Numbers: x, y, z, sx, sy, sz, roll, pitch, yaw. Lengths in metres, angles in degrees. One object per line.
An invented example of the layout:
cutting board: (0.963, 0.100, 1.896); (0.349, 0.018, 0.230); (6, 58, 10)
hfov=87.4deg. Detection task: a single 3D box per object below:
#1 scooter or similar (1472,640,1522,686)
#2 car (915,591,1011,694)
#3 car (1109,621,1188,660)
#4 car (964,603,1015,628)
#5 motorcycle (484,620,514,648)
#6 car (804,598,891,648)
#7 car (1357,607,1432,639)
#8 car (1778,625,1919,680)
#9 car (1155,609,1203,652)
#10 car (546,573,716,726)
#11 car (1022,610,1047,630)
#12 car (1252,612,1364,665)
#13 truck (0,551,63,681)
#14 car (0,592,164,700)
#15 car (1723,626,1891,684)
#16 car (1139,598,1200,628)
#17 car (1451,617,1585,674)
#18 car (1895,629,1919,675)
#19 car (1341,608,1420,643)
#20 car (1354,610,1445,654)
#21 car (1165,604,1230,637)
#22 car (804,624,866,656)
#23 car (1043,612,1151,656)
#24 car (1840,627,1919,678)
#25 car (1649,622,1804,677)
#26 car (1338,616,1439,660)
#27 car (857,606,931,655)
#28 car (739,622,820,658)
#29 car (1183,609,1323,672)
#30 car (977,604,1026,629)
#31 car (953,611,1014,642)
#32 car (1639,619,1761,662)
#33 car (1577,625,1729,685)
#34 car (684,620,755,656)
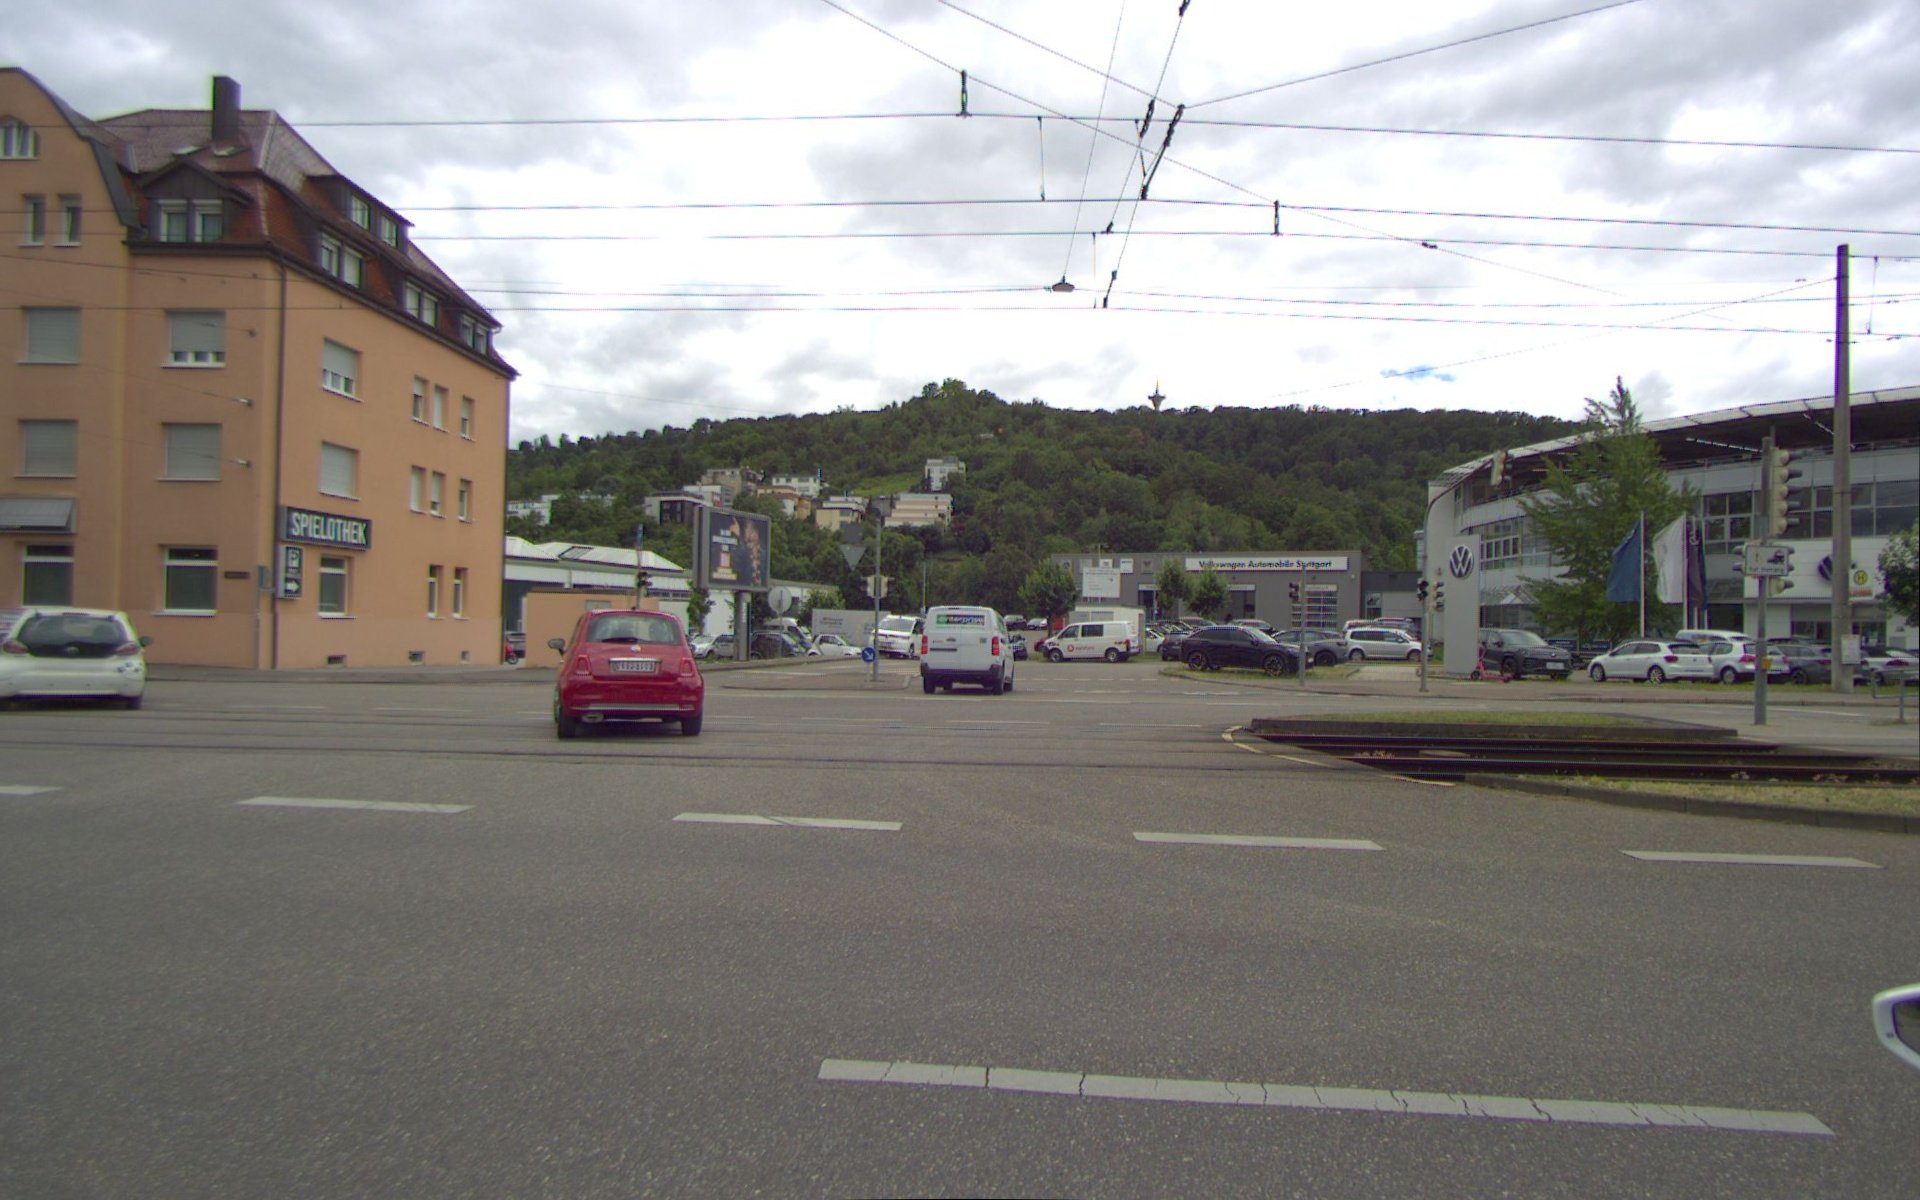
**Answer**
scooter or similar: (16.648, 1.959, 31.180); (1.180, 1.305, 0.576); (5, -1, 16)
car: (0.127, 0.910, 24.439); (1.965, 2.068, 4.831); (4, 2, 2)
car: (10.658, 2.301, 56.825); (3.924, 1.817, 1.853); (5, -1, 24)
car: (2.887, 1.497, 97.487); (4.420, 2.023, 2.001); (5, -1, 14)
motorcycle: (-19.258, 1.404, 41.958); (0.525, 0.997, 1.687); (6, -1, -43)
car: (-6.129, 1.231, 54.596); (4.429, 2.272, 1.997); (5, -1, -9)
car: (29.174, 1.550, 67.567); (4.422, 1.751, 2.000); (5, -1, 20)
car: (30.277, 1.751, 33.825); (1.892, 1.574, 3.996); (5, -1, -6)
car: (11.285, 1.620, 51.434); (1.960, 2.040, 5.021); (1, -3, 17)
car: (-4.252, 0.519, 12.936); (1.678, 1.545, 3.982); (5, 0, -19)
car: (8.144, 2.194, 109.258); (1.960, 2.023, 4.514); (5, -1, 12)
car: (14.039, 1.541, 40.741); (3.919, 1.728, 2.002); (5, -1, 12)
truck: (-20.683, 0.250, 19.855); (5.547, 2.453, 2.320); (1, -3, 25)
car: (-13.194, 0.697, 15.207); (1.583, 1.439, 3.340); (1, -3, -36)
car: (27.917, 1.758, 33.291); (1.892, 1.574, 3.996); (5, -1, -6)
car: (15.178, 0.933, 72.644); (3.924, 1.817, 1.853); (5, -1, 24)
car: (18.533, 1.466, 33.588); (1.963, 1.661, 3.996); (3, -1, -6)
car: (34.831, 1.902, 34.236); (1.892, 1.574, 3.996); (5, -1, -6)
car: (26.689, 1.627, 63.870); (4.422, 1.751, 2.000); (5, -1, 20)
car: (24.601, 1.804, 56.364); (4.422, 2.023, 2.000); (5, -1, 21)
car: (16.202, 1.384, 68.405); (3.924, 1.817, 1.853); (5, -1, 24)
car: (-6.363, 2.017, 51.443); (2.756, 1.355, 1.537); (5, -1, 7)
car: (6.789, 1.676, 49.741); (4.924, 2.040, 1.999); (0, -3, 26)
car: (32.627, 1.822, 34.082); (1.697, 1.574, 3.996); (5, -1, -6)
car: (25.408, 1.596, 33.502); (1.781, 1.496, 3.996); (5, -1, -6)
car: (21.218, 1.901, 49.929); (4.422, 1.751, 2.000); (5, -1, 20)
car: (-2.902, 1.387, 45.454); (2.041, 1.877, 4.912); (5, -1, 11)
car: (-8.316, 1.841, 46.480); (3.503, 1.506, 1.602); (2, 0, -6)
car: (9.616, 1.272, 33.075); (3.933, 1.662, 1.993); (5, 4, 35)
car: (4.172, 1.673, 100.648); (4.420, 2.023, 2.001); (5, -1, 14)
car: (1.872, 2.093, 79.499); (4.420, 2.023, 2.001); (5, -1, 8)
car: (32.843, 1.781, 44.722); (1.896, 1.574, 3.988); (5, -1, -14)
car: (23.079, 1.778, 33.656); (1.963, 1.661, 3.996); (5, -1, -6)
car: (-13.992, 2.217, 58.721); (1.960, 1.863, 4.513); (5, -1, 16)
